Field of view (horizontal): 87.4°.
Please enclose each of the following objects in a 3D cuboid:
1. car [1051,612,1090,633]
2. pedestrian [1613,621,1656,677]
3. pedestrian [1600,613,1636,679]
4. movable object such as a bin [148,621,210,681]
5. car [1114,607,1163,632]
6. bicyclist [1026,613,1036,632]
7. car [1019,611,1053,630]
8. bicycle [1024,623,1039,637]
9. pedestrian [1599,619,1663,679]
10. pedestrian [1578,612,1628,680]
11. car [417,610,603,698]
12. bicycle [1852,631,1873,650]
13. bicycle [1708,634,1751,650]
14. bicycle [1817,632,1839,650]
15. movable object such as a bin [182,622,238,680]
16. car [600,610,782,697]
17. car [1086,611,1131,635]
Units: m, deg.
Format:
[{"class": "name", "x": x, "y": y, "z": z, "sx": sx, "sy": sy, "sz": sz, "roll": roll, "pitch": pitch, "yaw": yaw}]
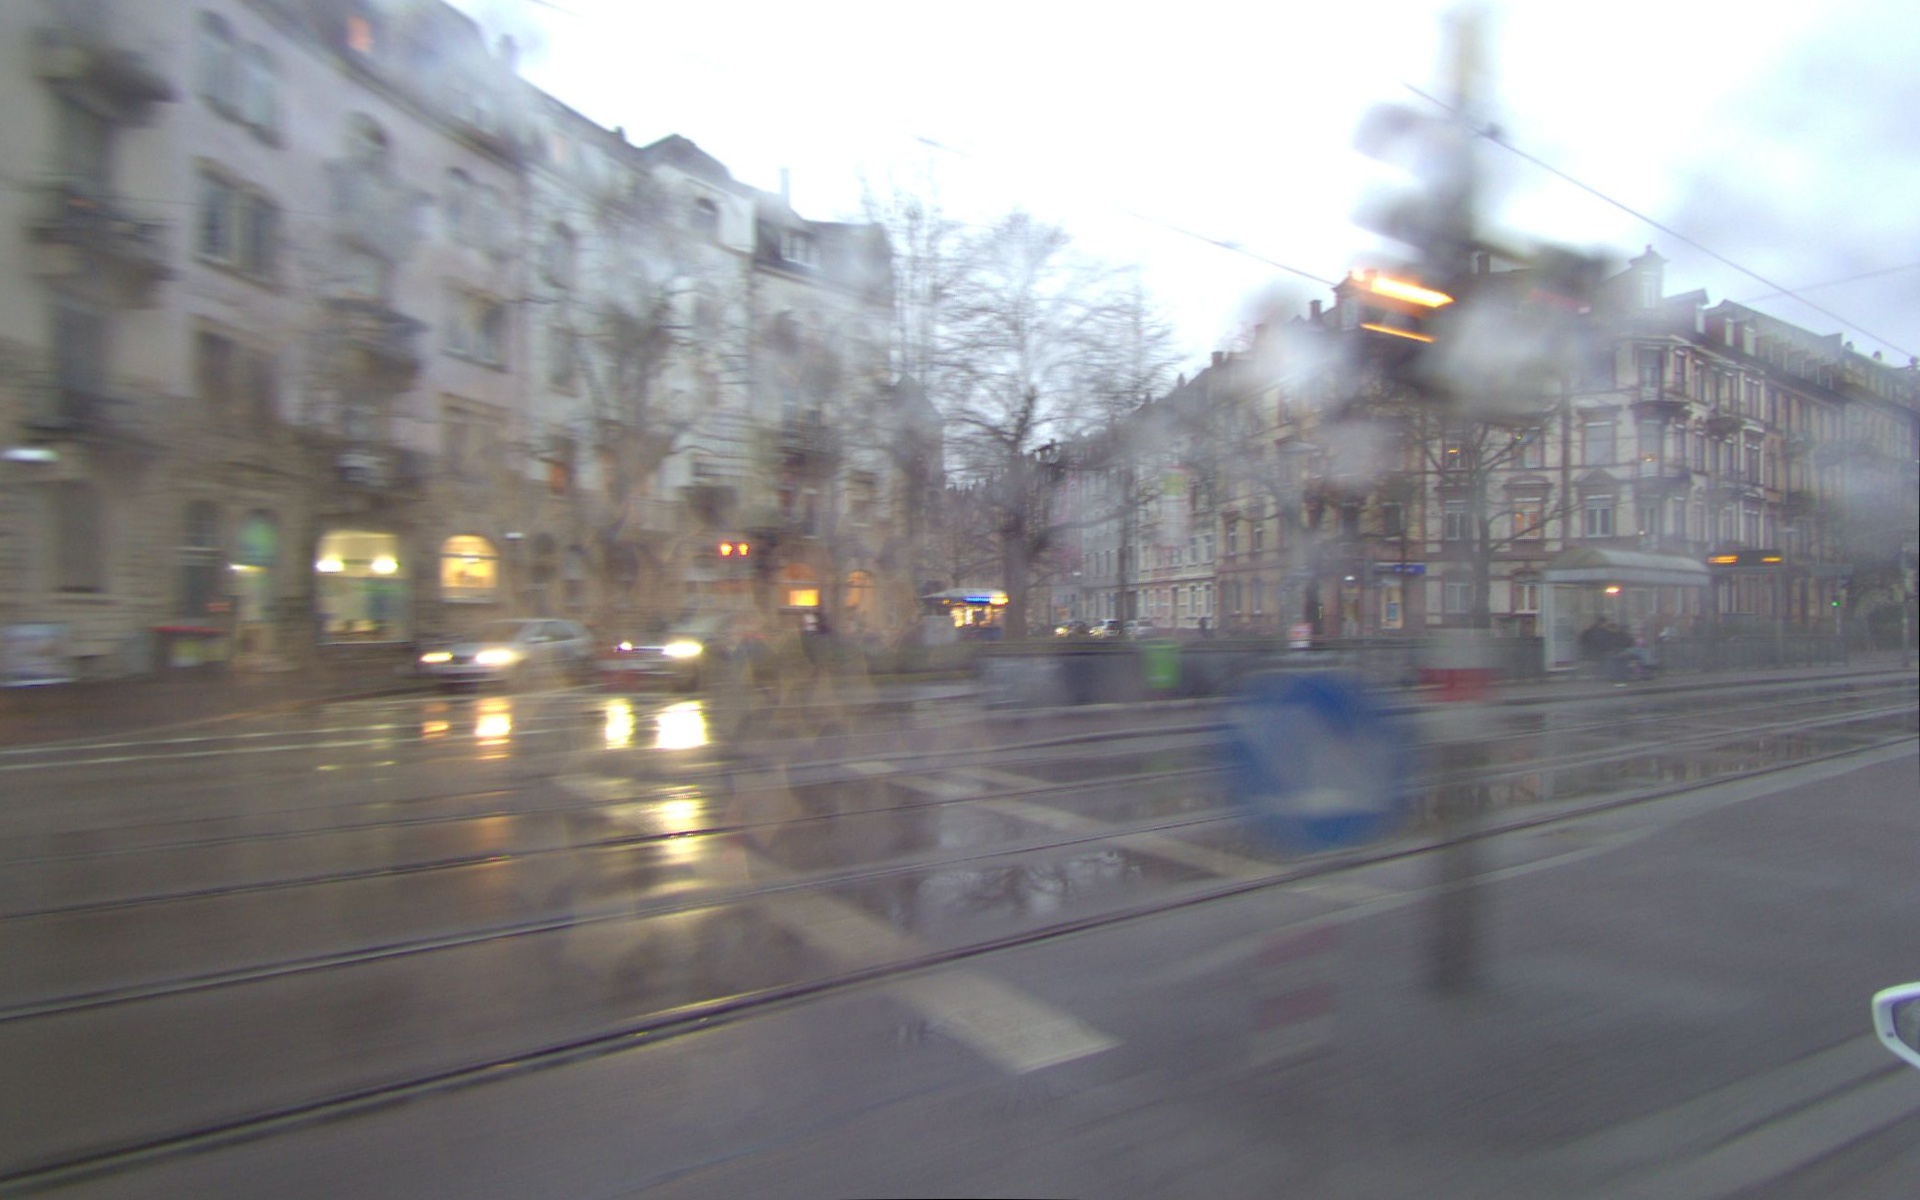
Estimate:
[{"class": "car", "x": 9.375, "y": 1.883, "z": 85.562, "sx": 1.967, "sy": 1.728, "sz": 3.988, "roll": 0, "pitch": -1, "yaw": -15}, {"class": "pedestrian", "x": 15.676, "y": 1.124, "z": 23.346, "sx": 0.512, "sy": 1.235, "sz": 0.648, "roll": 1, "pitch": 2, "yaw": -35}, {"class": "pedestrian", "x": 14.515, "y": 1.001, "z": 22.152, "sx": 0.449, "sy": 1.422, "sz": 0.470, "roll": 1, "pitch": 2, "yaw": -35}, {"class": "movable object such as a bin", "x": -15.335, "y": 0.996, "z": 19.732, "sx": 0.678, "sy": 1.150, "sz": 0.649, "roll": 0, "pitch": -1, "yaw": 2}, {"class": "car", "x": 12.579, "y": 1.401, "z": 71.010, "sx": 1.967, "sy": 1.728, "sz": 3.988, "roll": 0, "pitch": -1, "yaw": -15}, {"class": "bicyclist", "x": 5.173, "y": 1.659, "z": 73.001, "sx": 0.522, "sy": 1.382, "sz": 0.763, "roll": 1, "pitch": -1, "yaw": -16}, {"class": "car", "x": 7.104, "y": 1.965, "z": 94.616, "sx": 1.967, "sy": 1.728, "sz": 3.988, "roll": 0, "pitch": -1, "yaw": -15}, {"class": "bicycle", "x": 5.180, "y": 2.163, "z": 72.984, "sx": 0.484, "sy": 1.020, "sz": 1.805, "roll": 1, "pitch": -1, "yaw": -16}, {"class": "pedestrian", "x": 15.316, "y": 1.100, "z": 22.931, "sx": 0.501, "sy": 1.271, "sz": 1.049, "roll": 1, "pitch": 2, "yaw": -35}, {"class": "pedestrian", "x": 14.037, "y": 0.987, "z": 21.932, "sx": 0.572, "sy": 1.422, "sz": 0.679, "roll": 1, "pitch": 2, "yaw": -35}, {"class": "car", "x": -9.240, "y": 1.038, "z": 20.968, "sx": 1.581, "sy": 1.492, "sz": 3.828, "roll": 3, "pitch": 2, "yaw": 11}, {"class": "bicycle", "x": 48.073, "y": 2.140, "z": 53.502, "sx": 1.830, "sy": 1.020, "sz": 0.413, "roll": 1, "pitch": -1, "yaw": -34}, {"class": "bicycle", "x": 37.893, "y": 2.079, "z": 49.460, "sx": 1.775, "sy": 0.769, "sz": 0.401, "roll": 1, "pitch": 0, "yaw": 1}, {"class": "bicycle", "x": 44.034, "y": 2.084, "z": 50.943, "sx": 1.830, "sy": 0.874, "sz": 0.397, "roll": 1, "pitch": -1, "yaw": -34}, {"class": "movable object such as a bin", "x": -15.261, "y": 1.021, "z": 20.452, "sx": 0.640, "sy": 1.150, "sz": 0.649, "roll": 0, "pitch": -1, "yaw": 2}, {"class": "car", "x": -5.827, "y": 1.088, "z": 22.353, "sx": 1.898, "sy": 1.604, "sz": 4.345, "roll": 2, "pitch": 1, "yaw": 16}, {"class": "car", "x": 11.250, "y": 1.741, "z": 76.524, "sx": 1.967, "sy": 1.728, "sz": 3.988, "roll": 0, "pitch": -1, "yaw": -15}]
